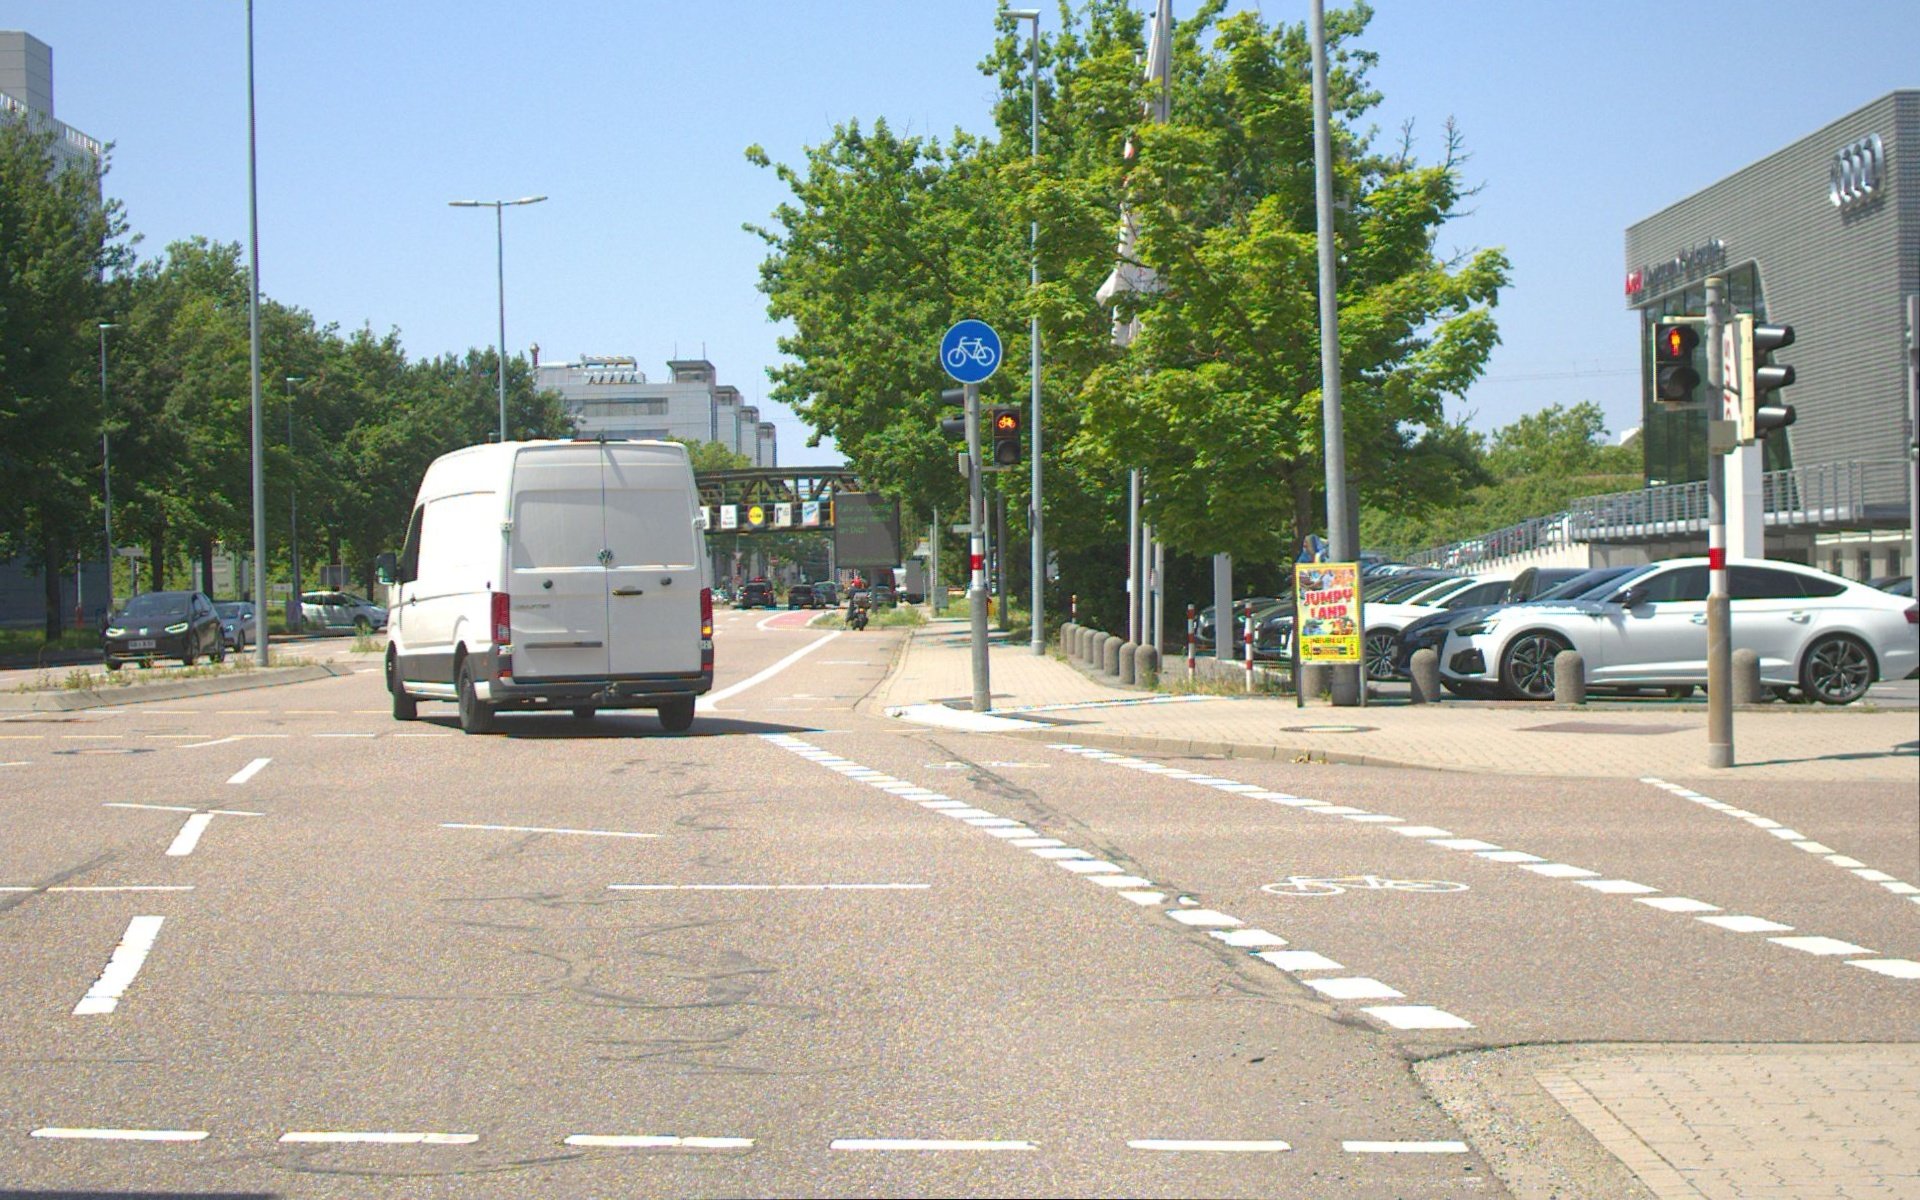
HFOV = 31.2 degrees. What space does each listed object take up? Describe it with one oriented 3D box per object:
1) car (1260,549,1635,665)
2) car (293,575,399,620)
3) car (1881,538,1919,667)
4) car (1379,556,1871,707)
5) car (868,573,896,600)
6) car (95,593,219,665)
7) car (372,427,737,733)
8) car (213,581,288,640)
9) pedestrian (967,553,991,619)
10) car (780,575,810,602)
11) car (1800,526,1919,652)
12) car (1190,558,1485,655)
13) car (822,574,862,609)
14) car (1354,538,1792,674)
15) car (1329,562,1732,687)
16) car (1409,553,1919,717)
[{"bbox_3d":[6.554,0.076,46.566,4.741,1.452,2.000,-1,1,-2],"label":"car"},{"bbox_3d":[-26.481,-0.106,148.336,4.018,1.804,1.999,1,1,14],"label":"car"},{"bbox_3d":[16.841,-0.008,54.389,3.987,2.007,2.000,-1,1,1],"label":"car"},{"bbox_3d":[6.857,0.328,35.844,4.741,1.452,2.000,-1,0,2],"label":"car"},{"bbox_3d":[-5.152,-0.902,226.377,1.772,1.722,4.000,-1,0,-1],"label":"car"},{"bbox_3d":[-16.366,0.573,70.221,1.684,1.406,3.665,-1,0,-1],"label":"car"},{"bbox_3d":[-3.835,-0.183,31.415,2.095,2.525,5.803,0,0,-19],"label":"car"},{"bbox_3d":[-21.027,0.288,102.011,1.648,1.647,4.164,-1,1,-5],"label":"car"},{"bbox_3d":[0.572,-0.432,102.670,0.662,1.957,0.759,-1,0,-1],"label":"pedestrian"},{"bbox_3d":[-10.698,-0.752,223.389,1.772,1.722,4.000,-1,0,-1],"label":"car"},{"bbox_3d":[16.139,-0.215,56.810,3.987,2.007,2.000,-1,1,1],"label":"car"},{"bbox_3d":[6.419,0.095,58.840,4.741,1.452,2.000,-2,1,-2],"label":"car"},{"bbox_3d":[-3.613,-0.269,105.316,1.137,1.038,2.308,-1,1,-1],"label":"car"},{"bbox_3d":[7.054,0.052,39.943,4.741,1.452,2.000,-1,1,2],"label":"car"},{"bbox_3d":[7.207,0.291,43.751,4.741,1.452,2.000,-1,1,-2],"label":"car"},{"bbox_3d":[6.844,0.320,33.302,4.741,1.452,2.000,-1,1,2],"label":"car"}]
